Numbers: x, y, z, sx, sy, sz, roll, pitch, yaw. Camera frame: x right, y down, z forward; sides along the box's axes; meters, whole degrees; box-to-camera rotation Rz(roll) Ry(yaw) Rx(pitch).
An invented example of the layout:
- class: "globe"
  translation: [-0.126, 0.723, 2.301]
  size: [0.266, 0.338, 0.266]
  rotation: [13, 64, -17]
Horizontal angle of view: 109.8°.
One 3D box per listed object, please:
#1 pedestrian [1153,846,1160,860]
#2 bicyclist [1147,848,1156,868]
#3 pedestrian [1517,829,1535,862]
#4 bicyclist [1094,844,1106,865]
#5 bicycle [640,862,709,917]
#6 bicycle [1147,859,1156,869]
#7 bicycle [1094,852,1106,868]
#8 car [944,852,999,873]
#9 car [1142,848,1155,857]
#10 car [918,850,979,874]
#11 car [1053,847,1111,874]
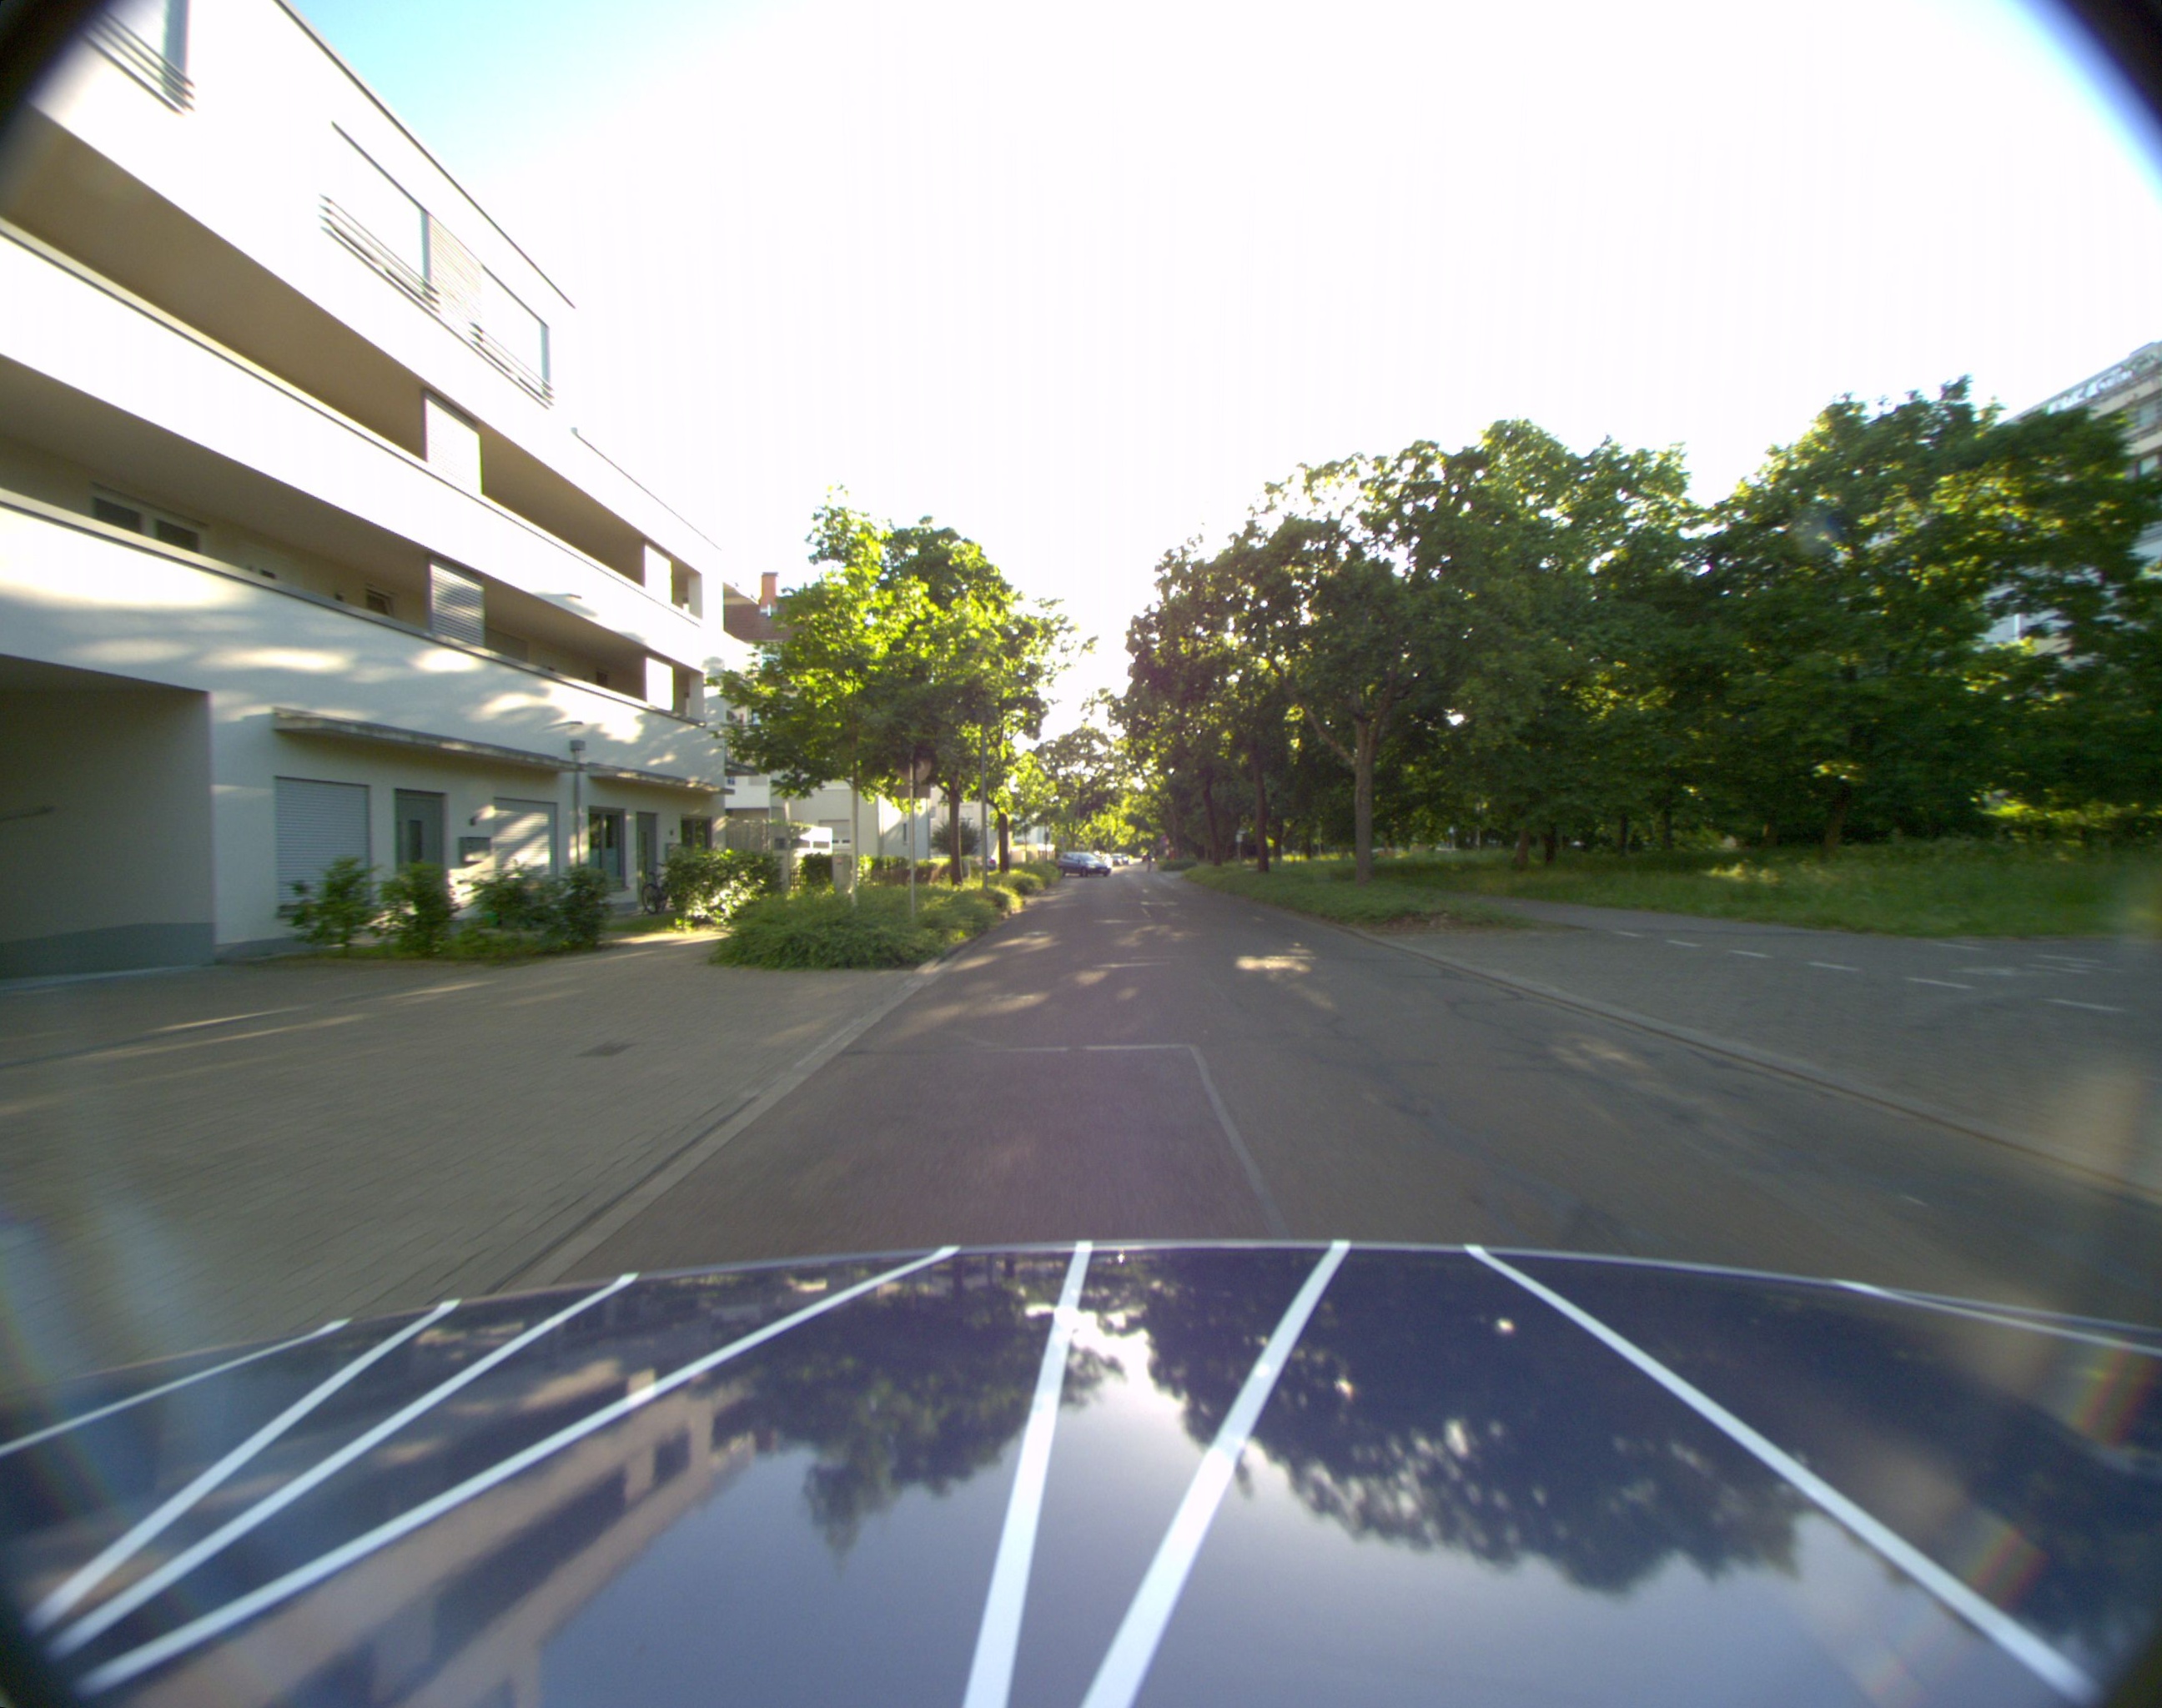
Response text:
- class: "pedestrian"
  translation: [9.939, -0.072, 99.902]
  size: [0.905, 1.810, 0.721]
  rotation: [-2, 1, 3]
- class: "bicyclist"
  translation: [5.366, 0.302, 57.921]
  size: [0.634, 1.546, 1.002]
  rotation: [1, 1, 4]
- class: "pedestrian"
  translation: [27.815, -0.526, 47.484]
  size: [0.758, 2.002, 0.590]
  rotation: [-2, 1, 7]
- class: "bicyclist"
  translation: [1.527, 0.043, 61.247]
  size: [0.819, 1.635, 0.745]
  rotation: [-3, 1, 5]
- class: "bicycle"
  translation: [-9.615, 0.818, 18.057]
  size: [0.619, 1.184, 1.753]
  rotation: [-2, 1, 1]
- class: "bicycle"
  translation: [5.362, 0.780, 57.955]
  size: [0.640, 0.737, 2.126]
  rotation: [1, 1, 4]
- class: "bicycle"
  translation: [1.558, 0.493, 61.413]
  size: [0.829, 1.182, 2.303]
  rotation: [-2, 0, 5]
- class: "car"
  translation: [-8.785, 0.695, 61.048]
  size: [4.050, 1.506, 1.726]
  rotation: [-2, 2, 2]
- class: "car"
  translation: [11.950, -0.276, 134.335]
  size: [1.847, 1.569, 4.339]
  rotation: [1, 0, 10]
- class: "car"
  translation: [-9.311, 0.568, 53.610]
  size: [3.997, 1.572, 1.810]
  rotation: [-1, 0, 1]
- class: "car"
  translation: [0.026, 0.466, 50.217]
  size: [1.772, 1.664, 4.269]
  rotation: [-3, 1, -32]
